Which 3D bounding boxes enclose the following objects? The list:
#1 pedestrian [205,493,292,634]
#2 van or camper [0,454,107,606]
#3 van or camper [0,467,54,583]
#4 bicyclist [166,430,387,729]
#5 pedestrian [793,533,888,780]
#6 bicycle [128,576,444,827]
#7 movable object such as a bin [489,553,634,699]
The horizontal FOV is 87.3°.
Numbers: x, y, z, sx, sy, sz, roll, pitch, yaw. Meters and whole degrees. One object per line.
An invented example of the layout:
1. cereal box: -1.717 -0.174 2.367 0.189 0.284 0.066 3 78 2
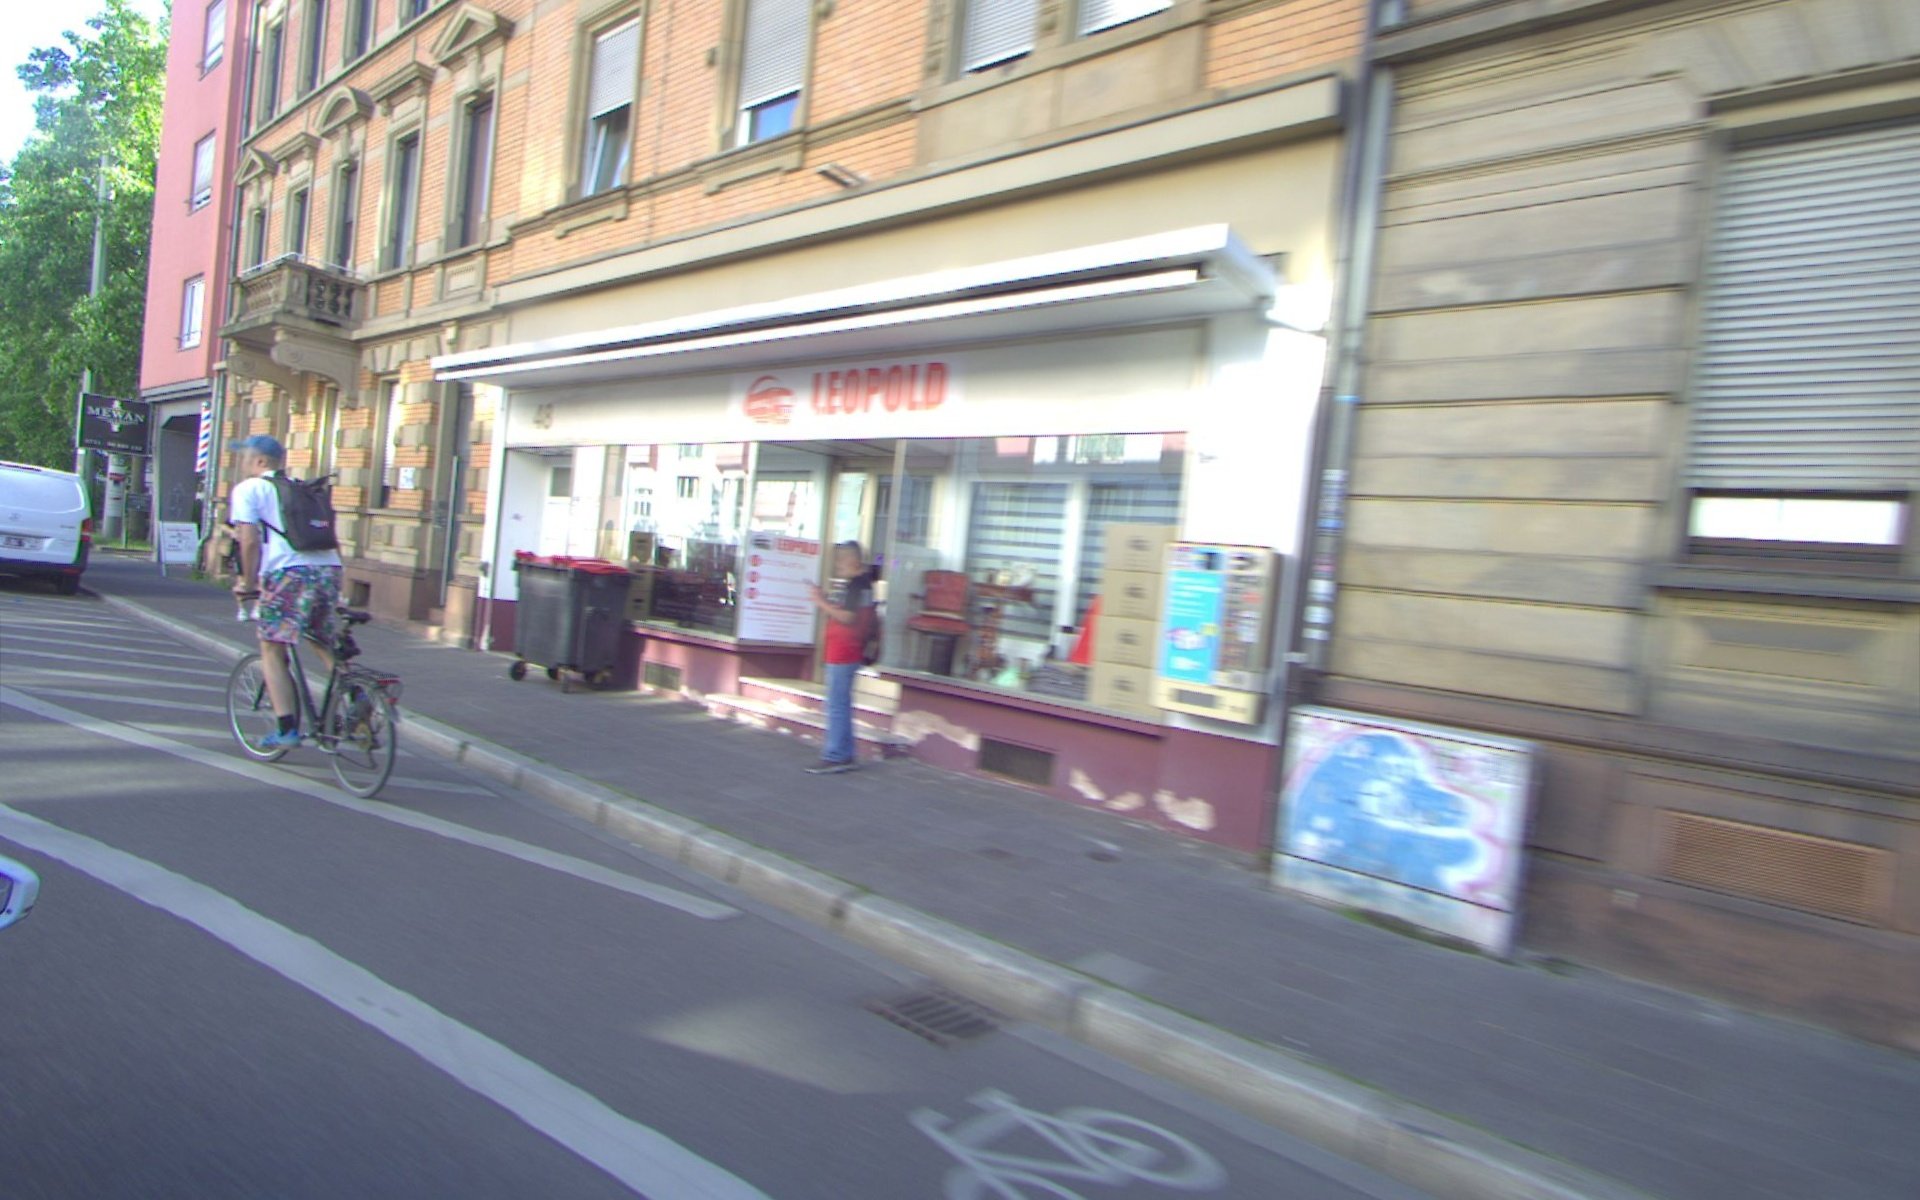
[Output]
1. pedestrian: -9.804 -0.503 13.860 0.745 1.837 0.672 6 1 39
2. van or camper: -15.666 -1.229 16.173 5.397 2.061 1.930 6 -1 40
3. van or camper: -20.079 -1.677 20.111 5.253 2.070 1.970 6 -1 39
4. bicyclist: -4.165 -0.129 6.139 0.912 1.676 0.656 7 1 30
5. pedestrian: -0.910 0.405 7.544 0.463 1.751 0.585 6 2 -14
6. bicycle: -4.115 0.548 6.089 2.060 1.153 0.648 7 0 29
7. movable object such as a bin: -4.188 0.269 10.546 1.280 1.364 0.775 7 1 39
